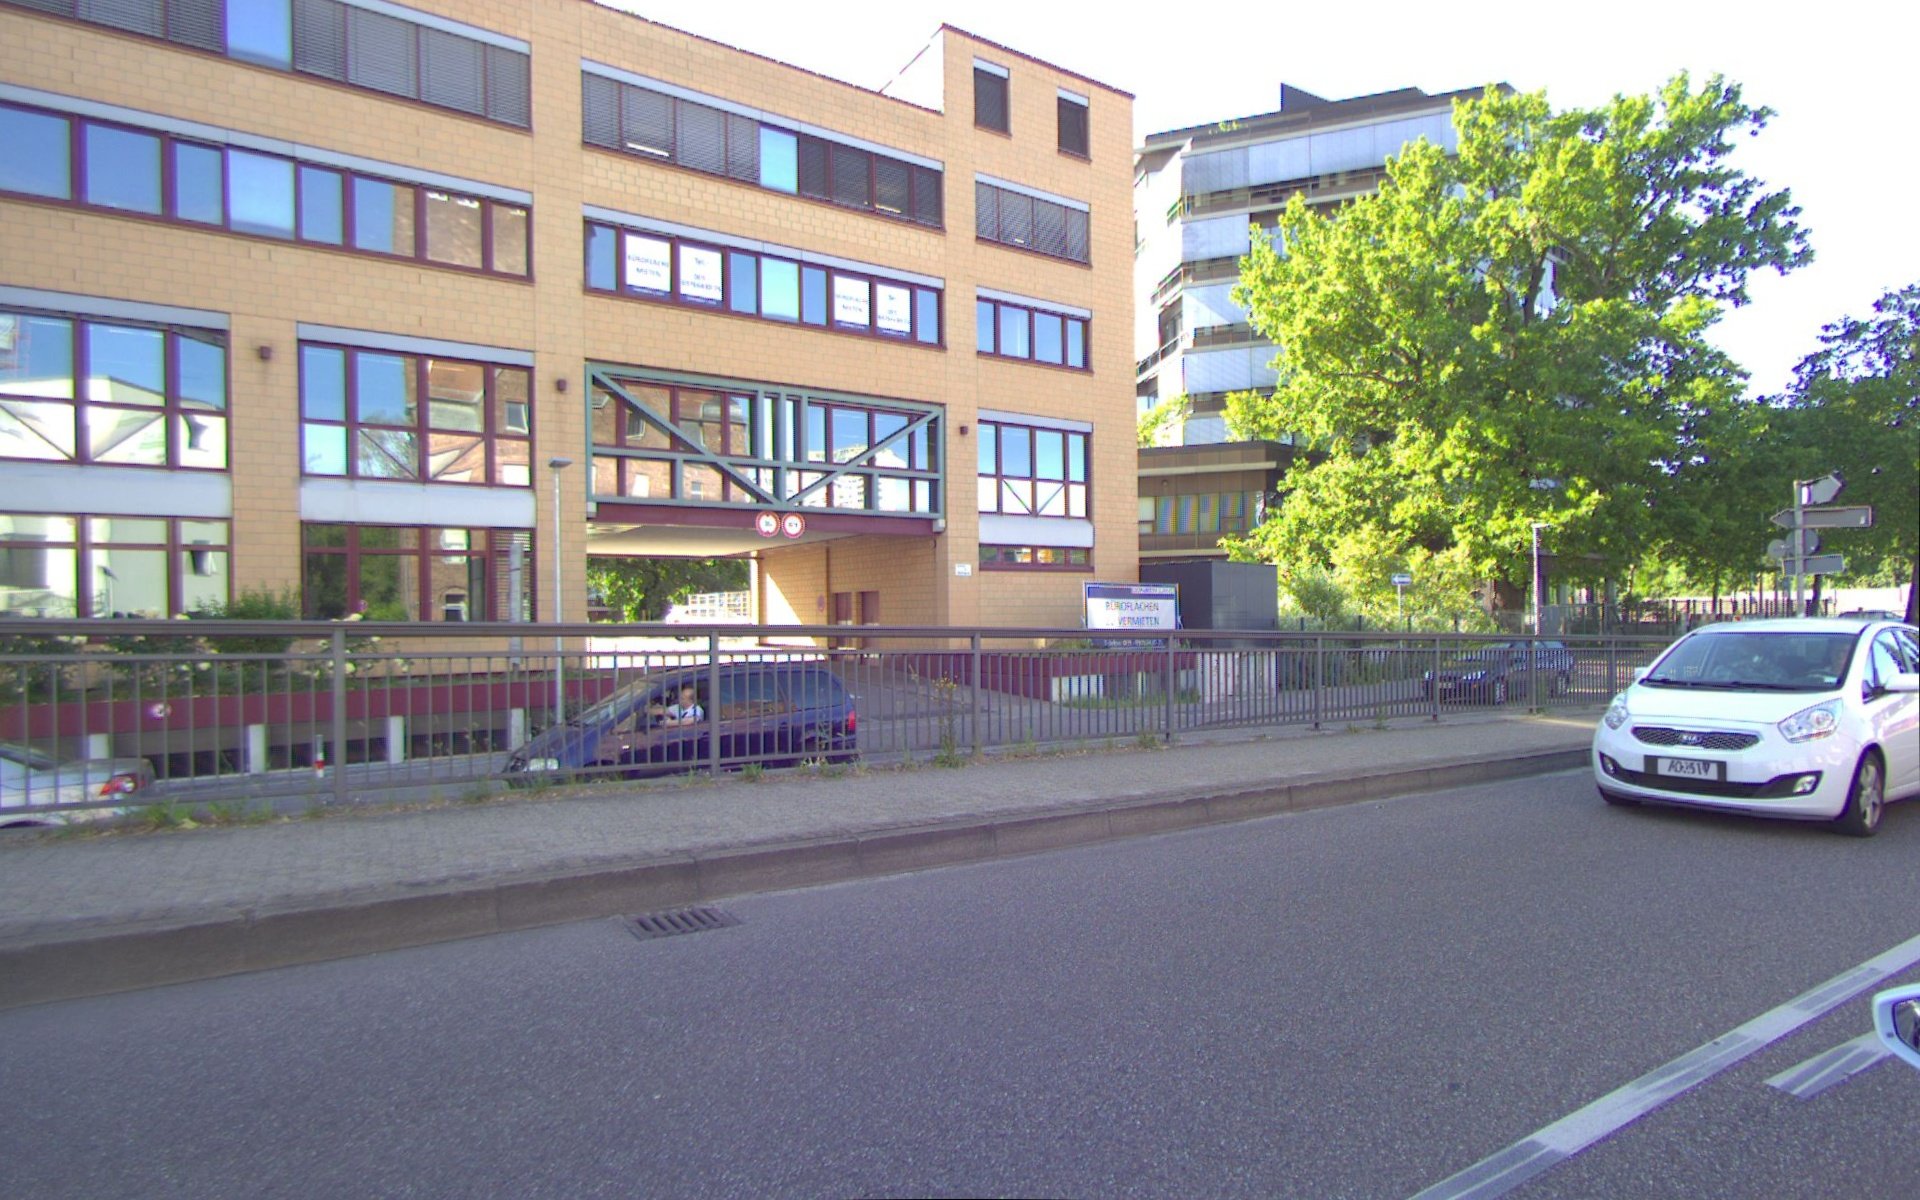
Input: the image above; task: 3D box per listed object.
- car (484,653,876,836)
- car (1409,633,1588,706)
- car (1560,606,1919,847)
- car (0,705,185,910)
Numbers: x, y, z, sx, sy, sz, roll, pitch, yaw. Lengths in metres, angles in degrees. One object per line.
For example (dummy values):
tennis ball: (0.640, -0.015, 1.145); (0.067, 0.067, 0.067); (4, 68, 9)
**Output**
car: (-3.587, 1.711, 13.243); (4.640, 1.781, 1.938); (0, 0, -35)
car: (13.075, 1.621, 24.329); (4.399, 1.523, 1.811); (0, -1, -31)
car: (7.096, 0.892, 8.645); (3.958, 1.625, 1.809); (1, -1, -34)
car: (-9.839, 1.951, 9.092); (4.311, 1.625, 1.809); (0, -1, -34)
